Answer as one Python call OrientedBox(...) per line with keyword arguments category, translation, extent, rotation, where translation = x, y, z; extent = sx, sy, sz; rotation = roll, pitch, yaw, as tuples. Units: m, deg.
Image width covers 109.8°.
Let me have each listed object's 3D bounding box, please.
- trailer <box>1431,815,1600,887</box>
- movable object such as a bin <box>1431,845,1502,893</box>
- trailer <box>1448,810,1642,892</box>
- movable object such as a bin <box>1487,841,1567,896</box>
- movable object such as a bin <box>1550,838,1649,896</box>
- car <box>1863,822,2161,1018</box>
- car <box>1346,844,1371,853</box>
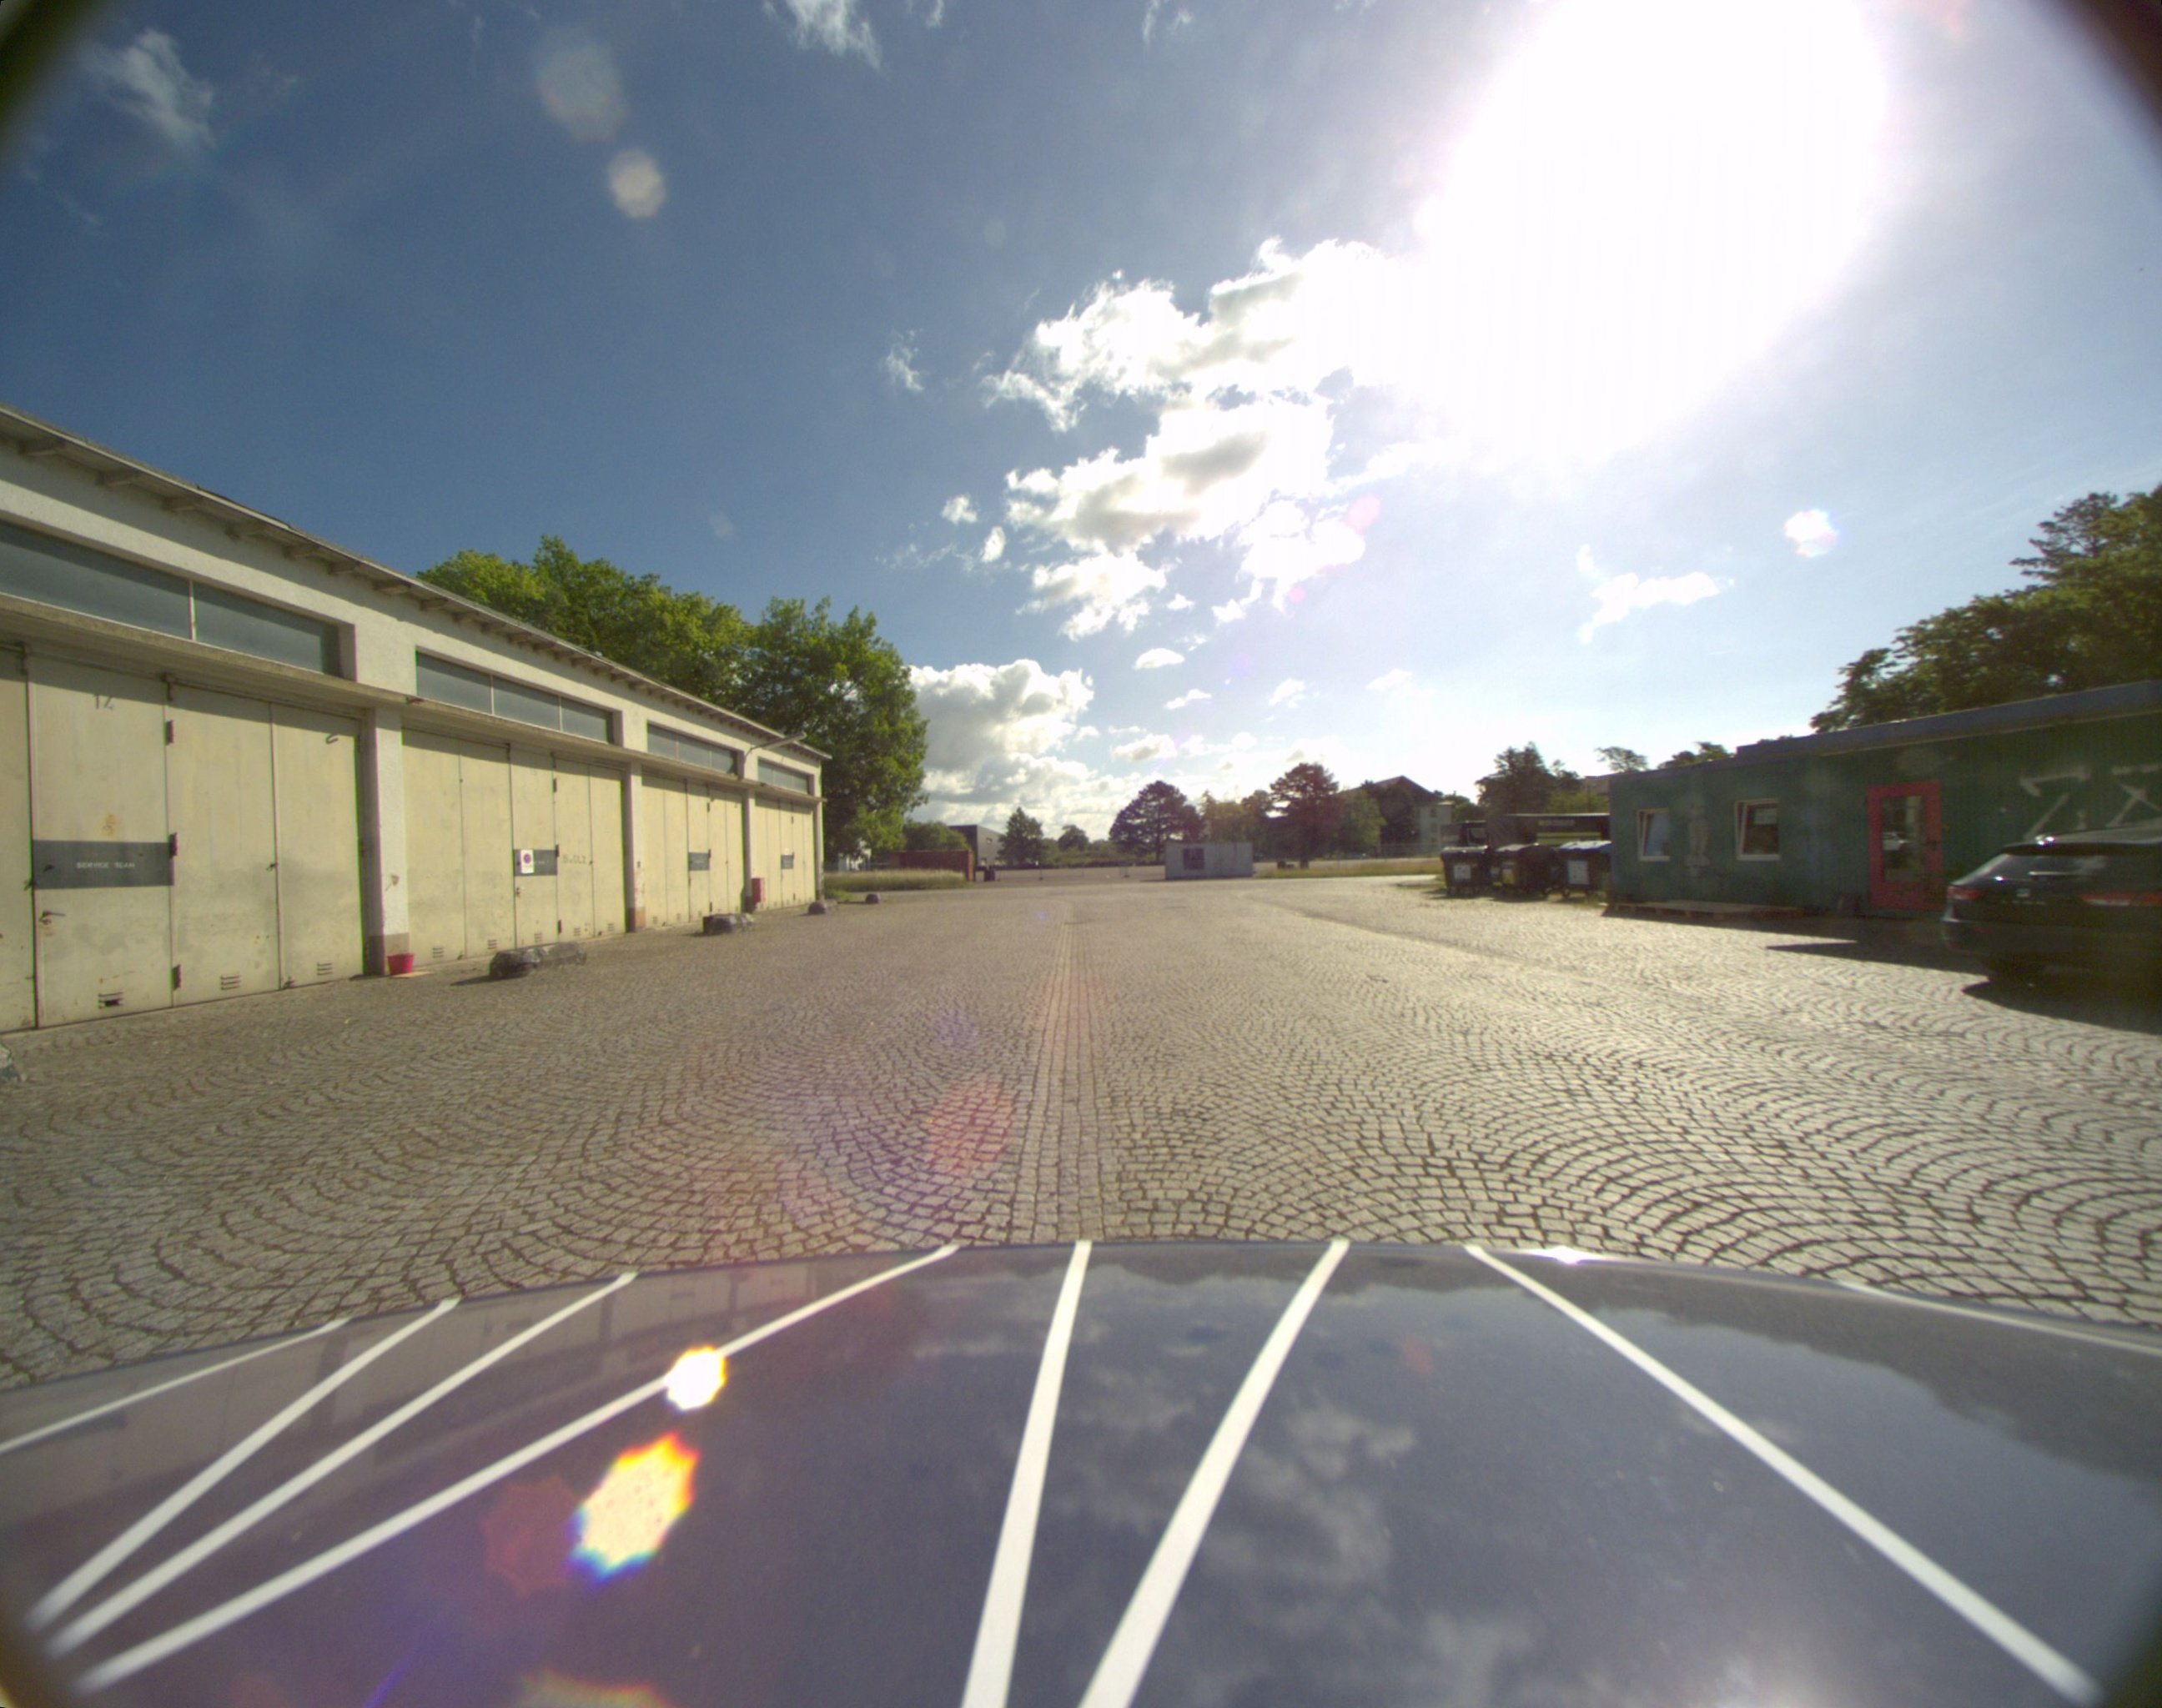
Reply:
OrientedBox(category="trailer", translation=(15.250, -0.103, 26.887), extent=(4.666, 2.284, 2.137), rotation=(-2, 0, 1))
OrientedBox(category="movable object such as a bin", translation=(11.843, 0.453, 23.329), extent=(1.389, 1.378, 1.532), rotation=(-2, 0, -44))
OrientedBox(category="trailer", translation=(14.799, -0.095, 24.400), extent=(4.973, 2.341, 2.095), rotation=(-2, 0, -4))
OrientedBox(category="movable object such as a bin", translation=(12.401, 0.388, 21.189), extent=(1.299, 1.414, 1.536), rotation=(-2, 0, 1))
OrientedBox(category="movable object such as a bin", translation=(13.297, 0.325, 19.547), extent=(1.386, 1.378, 1.534), rotation=(-2, 0, -12))
OrientedBox(category="car", translation=(10.338, 0.438, 6.958), extent=(4.427, 1.456, 1.999), rotation=(-3, 0, -4))
OrientedBox(category="car", translation=(53.169, -0.965, 145.742), extent=(3.998, 1.573, 1.999), rotation=(-2, 0, -4))
